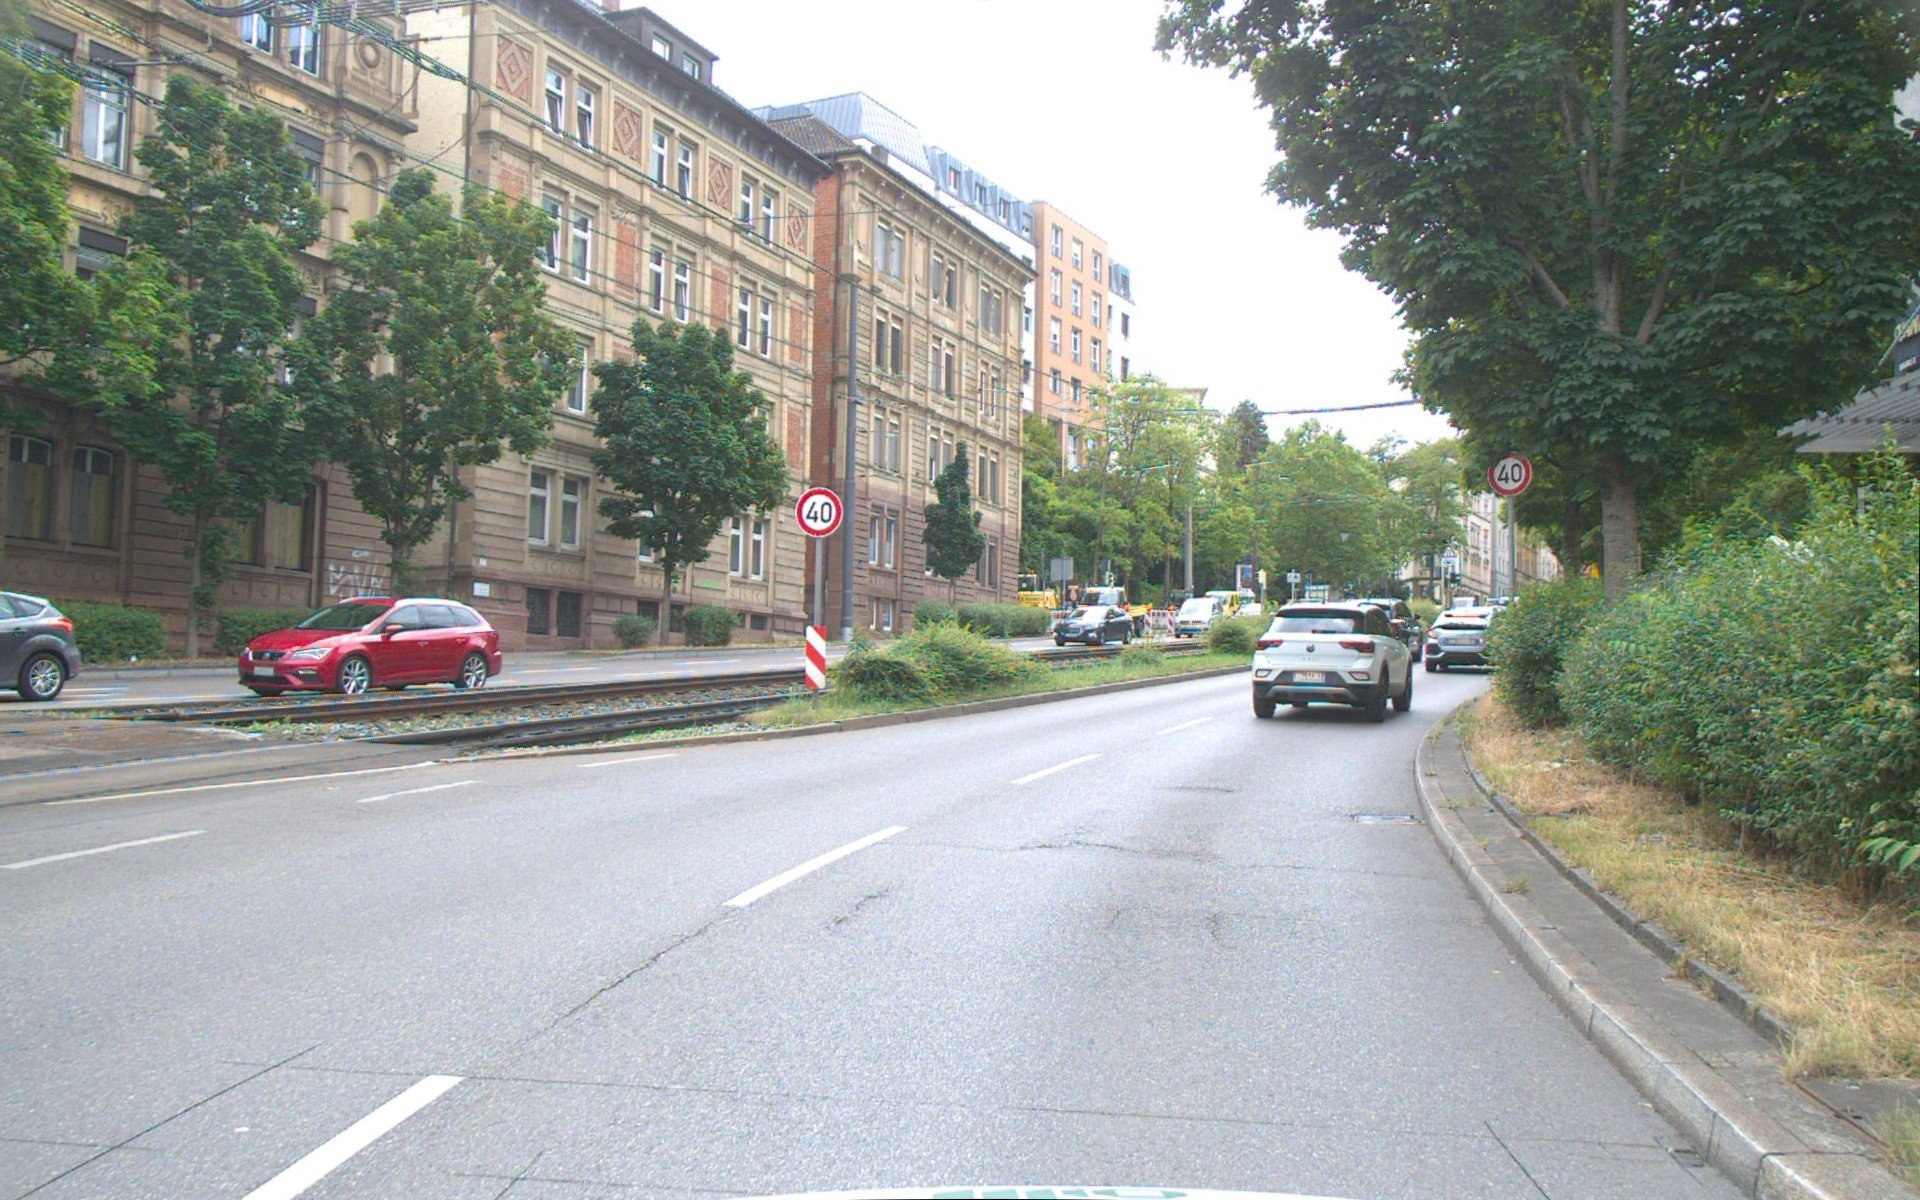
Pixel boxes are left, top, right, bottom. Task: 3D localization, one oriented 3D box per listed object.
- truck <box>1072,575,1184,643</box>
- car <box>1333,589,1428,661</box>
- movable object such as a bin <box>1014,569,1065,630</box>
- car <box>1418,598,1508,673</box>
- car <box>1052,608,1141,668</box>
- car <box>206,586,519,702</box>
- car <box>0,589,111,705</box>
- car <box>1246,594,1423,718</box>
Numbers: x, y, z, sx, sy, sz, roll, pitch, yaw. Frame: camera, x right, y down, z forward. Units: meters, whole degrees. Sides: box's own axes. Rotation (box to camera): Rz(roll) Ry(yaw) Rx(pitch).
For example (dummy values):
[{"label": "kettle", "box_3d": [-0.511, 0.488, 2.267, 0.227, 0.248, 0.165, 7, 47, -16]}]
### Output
[{"label": "truck", "box_3d": [7.811, 0.474, 75.828, 2.860, 2.552, 7.149, 6, 0, 24]}, {"label": "car", "box_3d": [11.118, 0.655, 43.593, 1.802, 1.770, 3.998, 1, 0, 23]}, {"label": "movable object such as a bin", "box_3d": [3.780, -0.010, 78.636, 1.952, 2.888, 2.030, 0, -1, 18]}, {"label": "car", "box_3d": [11.819, 0.866, 38.998, 1.863, 1.601, 3.836, 3, -1, 16]}, {"label": "car", "box_3d": [5.143, 1.443, 61.769, 1.782, 1.476, 4.944, 2, -9, 23]}, {"label": "car", "box_3d": [-8.862, 0.631, 24.976, 1.953, 1.545, 4.404, 1, 0, 23]}, {"label": "car", "box_3d": [-13.078, 0.578, 20.562, 1.707, 1.452, 4.404, 0, -1, 23]}, {"label": "car", "box_3d": [5.403, 0.761, 23.501, 1.898, 1.594, 4.046, 0, -1, 21]}]
